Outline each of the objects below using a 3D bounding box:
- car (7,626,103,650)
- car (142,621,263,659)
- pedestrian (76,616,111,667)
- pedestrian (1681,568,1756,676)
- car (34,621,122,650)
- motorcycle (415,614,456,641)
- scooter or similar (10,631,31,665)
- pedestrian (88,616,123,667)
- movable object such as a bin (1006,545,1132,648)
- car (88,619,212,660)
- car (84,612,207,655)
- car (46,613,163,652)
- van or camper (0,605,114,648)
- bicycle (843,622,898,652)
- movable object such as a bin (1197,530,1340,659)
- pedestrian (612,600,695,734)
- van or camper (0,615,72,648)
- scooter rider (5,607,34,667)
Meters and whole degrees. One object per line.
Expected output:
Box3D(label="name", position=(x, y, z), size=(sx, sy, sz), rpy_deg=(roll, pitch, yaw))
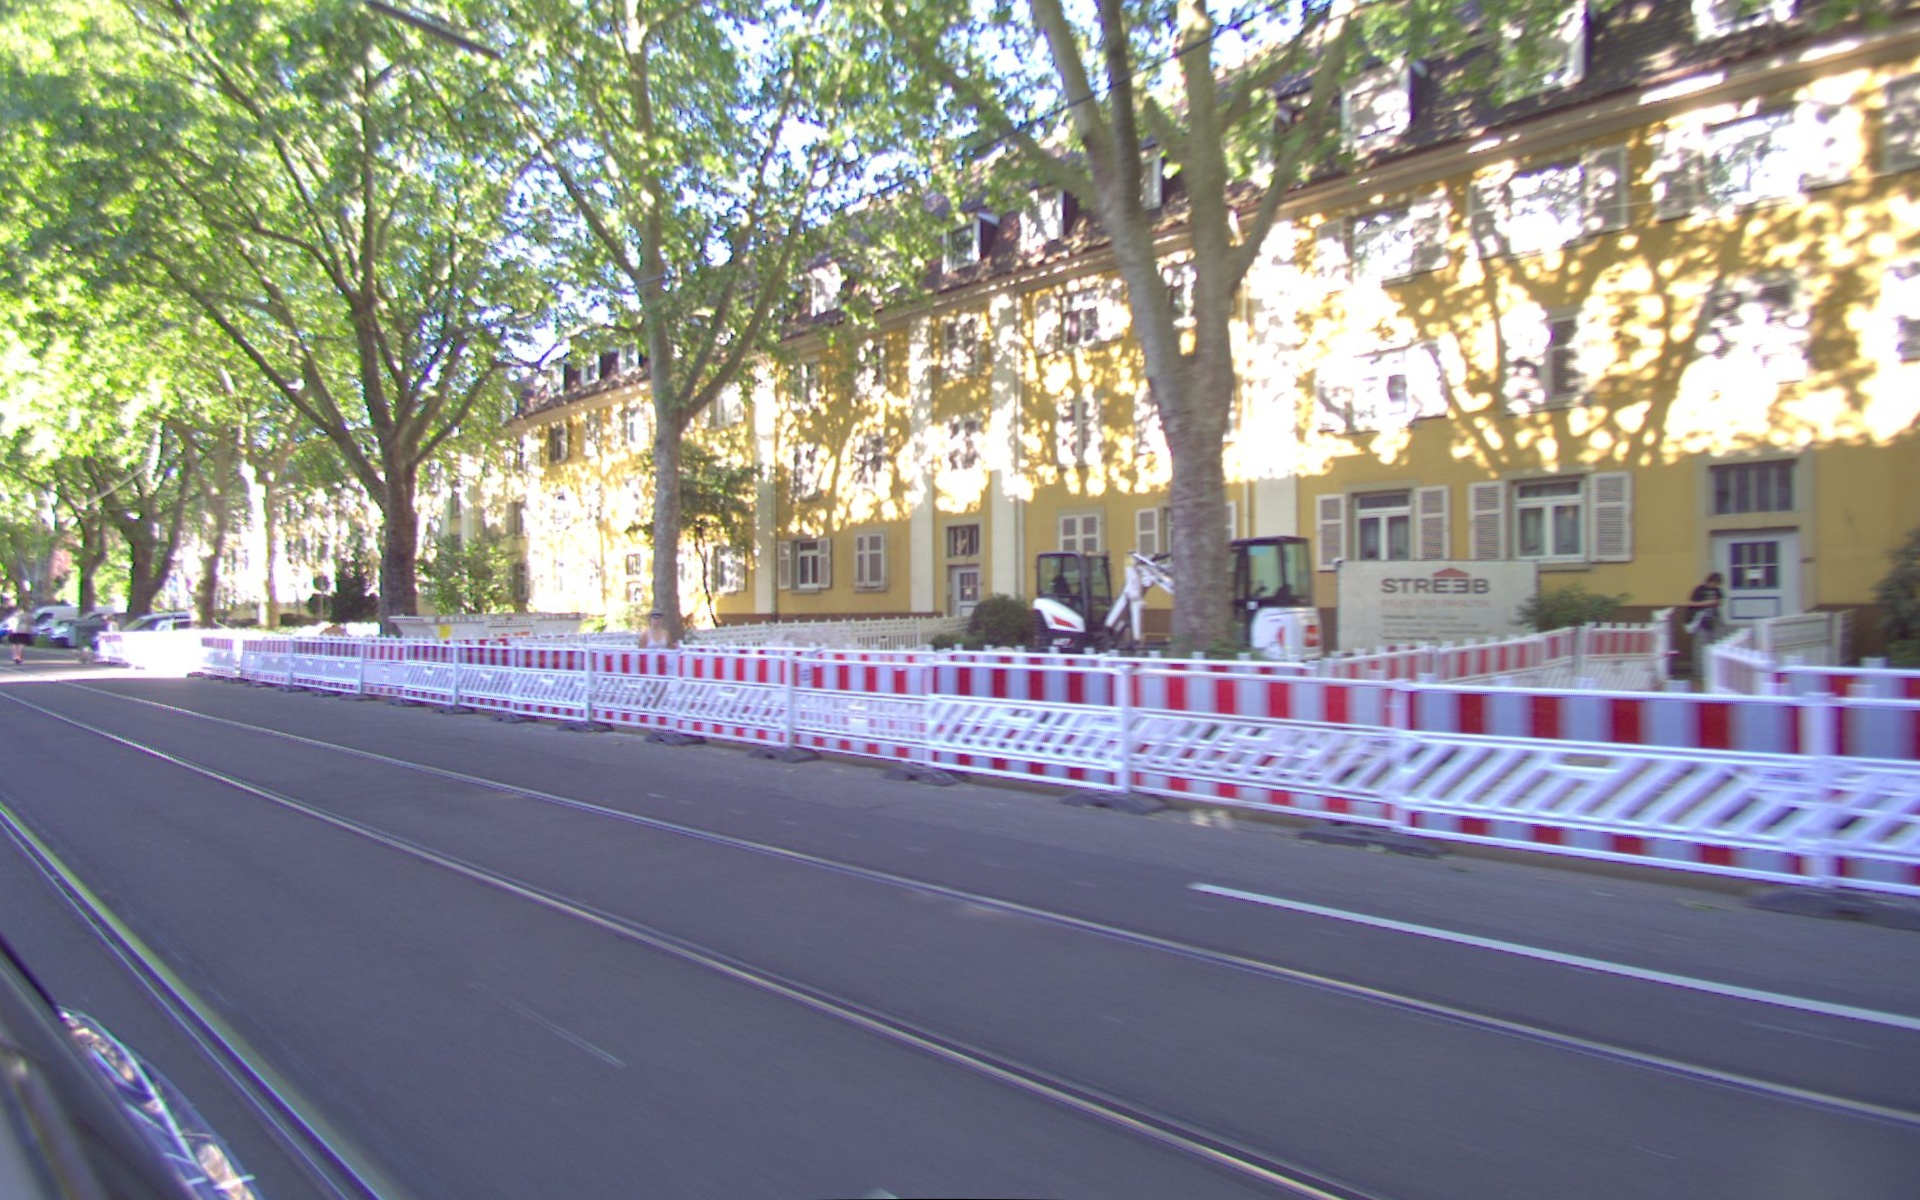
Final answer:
Box3D(label="car", position=(-55.546, 2.324, 62.141), size=(1.752, 1.409, 4.219), rpy_deg=(-2, -2, 41))
Box3D(label="car", position=(-32.176, 1.666, 43.056), size=(1.861, 1.509, 3.807), rpy_deg=(-2, -2, 41))
Box3D(label="pedestrian", position=(-30.711, 1.448, 35.863), size=(0.796, 1.758, 0.813), rpy_deg=(-1, 0, 41))
Box3D(label="pedestrian", position=(11.989, 0.344, 16.013), size=(0.664, 1.669, 0.671), rpy_deg=(-1, -1, 9))
Box3D(label="car", position=(-53.535, 2.140, 61.465), size=(1.861, 1.675, 3.807), rpy_deg=(-2, -2, 41))
Box3D(label="motorcycle", position=(-25.601, 1.336, 49.405), size=(0.523, 1.250, 1.691), rpy_deg=(-2, -1, 43))
Box3D(label="scooter or similar", position=(-31.815, 1.605, 34.271), size=(1.338, 1.091, 0.403), rpy_deg=(-1, 0, 42))
Box3D(label="pedestrian", position=(-29.912, 1.441, 35.412), size=(0.796, 1.758, 0.813), rpy_deg=(-1, 0, 41))
Box3D(label="movable object such as a bin", position=(2.091, -0.060, 19.569), size=(2.007, 1.882, 1.319), rpy_deg=(-1, 0, 41))
Box3D(label="car", position=(-35.888, 1.731, 44.877), size=(4.183, 1.701, 1.935), rpy_deg=(0, -2, -42))
Box3D(label="car", position=(-37.508, 1.513, 46.688), size=(1.738, 1.771, 4.158), rpy_deg=(-2, 0, 39))
Box3D(label="car", position=(-47.055, 1.758, 55.757), size=(1.959, 1.960, 4.613), rpy_deg=(-2, 0, 38))
Box3D(label="van or camper", position=(-57.352, 1.644, 64.168), size=(2.443, 2.535, 5.334), rpy_deg=(-2, 0, 40))
Box3D(label="bicycle", position=(-2.532, 1.053, 28.664), size=(1.641, 0.825, 0.501), rpy_deg=(-1, -1, 38))
Box3D(label="movable object such as a bin", position=(4.244, -0.070, 13.944), size=(1.559, 1.658, 1.086), rpy_deg=(-1, 0, 41))
Box3D(label="pedestrian", position=(-4.024, 0.853, 13.290), size=(0.778, 1.682, 0.709), rpy_deg=(-1, 0, 42))
Box3D(label="van or camper", position=(-66.952, 2.265, 72.470), size=(2.118, 2.206, 4.771), rpy_deg=(-2, 0, 40))
Box3D(label="scooter rider", position=(-31.853, 1.235, 34.272), size=(0.624, 1.972, 0.642), rpy_deg=(-1, 0, 41))
